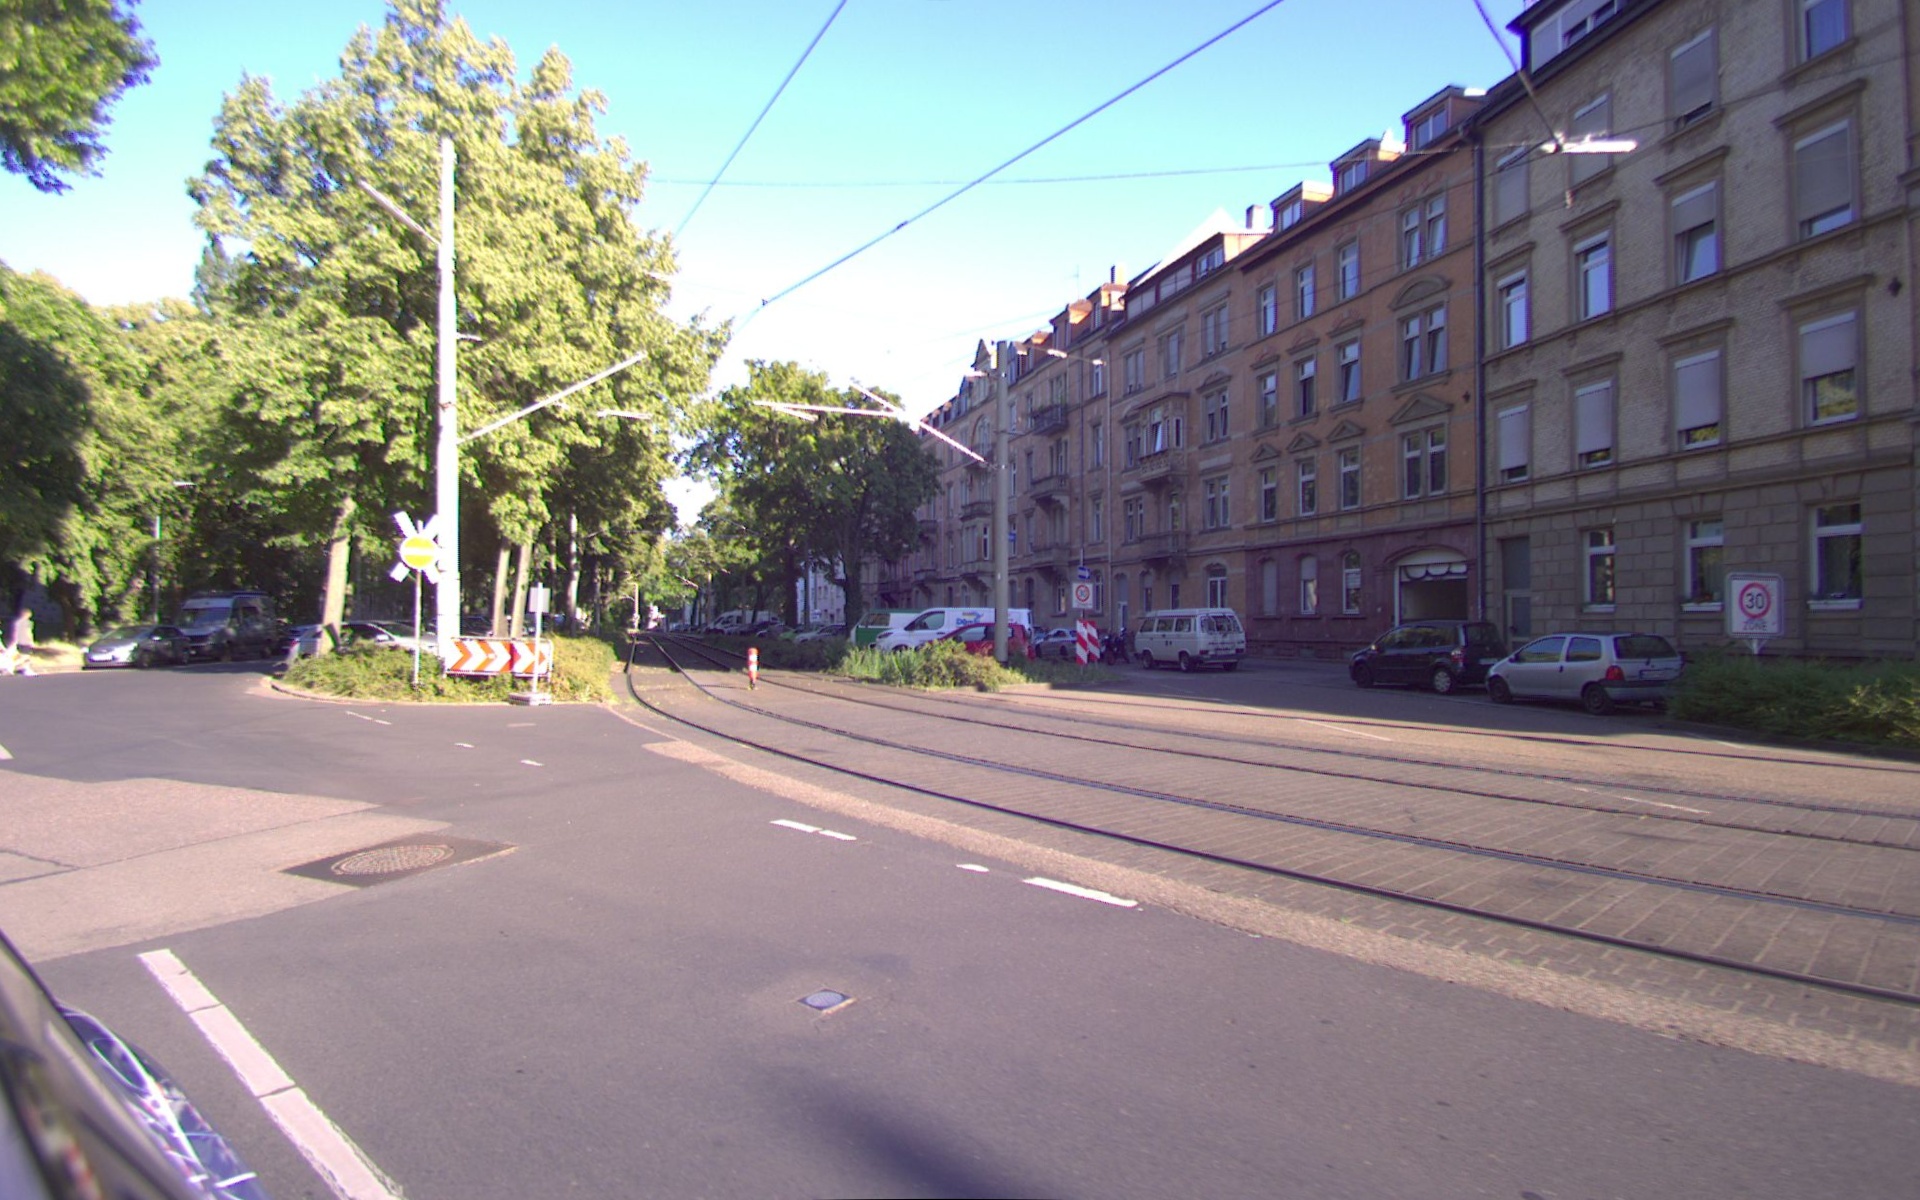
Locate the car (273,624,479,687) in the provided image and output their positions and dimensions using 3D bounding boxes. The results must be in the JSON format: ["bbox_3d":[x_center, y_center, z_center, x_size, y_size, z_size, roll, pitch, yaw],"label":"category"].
[{"bbox_3d":[-14.761,1.387,25.734,4.234,1.440,1.774,-1,-1,1],"label":"car"}]

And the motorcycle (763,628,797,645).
[{"bbox_3d":[-10.196,2.073,57.325,1.705,0.962,1.019,0,-2,4],"label":"motorcycle"}]

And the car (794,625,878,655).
[{"bbox_3d":[-5.983,1.932,49.006,3.695,1.391,1.722,0,-2,8],"label":"car"}]

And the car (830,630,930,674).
[{"bbox_3d":[-3.160,2.032,40.170,3.614,1.652,1.654,0,-2,13],"label":"car"}]

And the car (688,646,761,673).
[{"bbox_3d":[-14.625,3.660,62.888,3.954,1.590,1.994,0,-2,9],"label":"car"}]

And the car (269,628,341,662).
[{"bbox_3d":[-31.658,2.148,49.046,1.657,1.537,4.502,0,-2,-16],"label":"car"}]

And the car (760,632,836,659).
[{"bbox_3d":[-8.728,2.448,54.511,3.697,1.391,1.703,0,-2,10],"label":"car"}]

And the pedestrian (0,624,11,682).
[{"bbox_3d":[-27.420,1.497,28.421,0.801,1.620,0.718,1,-4,-12],"label":"pedestrian"}]

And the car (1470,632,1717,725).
[{"bbox_3d":[11.325,1.362,18.406,1.826,1.440,3.502,-2,-2,-11],"label":"car"}]

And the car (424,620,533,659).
[{"bbox_3d":[-25.272,2.078,53.122,4.950,1.795,1.980,-3,-1,12],"label":"car"}]

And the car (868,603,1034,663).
[{"bbox_3d":[-0.210,1.017,31.321,4.996,1.778,2.082,0,-2,5],"label":"car"}]

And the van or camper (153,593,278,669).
[{"bbox_3d":[-29.445,1.245,40.282,2.055,2.783,5.862,0,-2,-16],"label":"van or camper"}]

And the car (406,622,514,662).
[{"bbox_3d":[-23.526,1.971,47.662,4.313,1.638,1.934,-3,-1,12],"label":"car"}]

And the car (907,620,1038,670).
[{"bbox_3d":[0.394,1.269,28.883,3.589,1.339,1.713,0,-2,6],"label":"car"}]

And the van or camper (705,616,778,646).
[{"bbox_3d":[-18.218,2.588,84.536,5.492,2.389,2.299,1,-2,11],"label":"van or camper"}]

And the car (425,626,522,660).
[{"bbox_3d":[-24.210,2.115,50.381,4.117,1.470,1.764,-3,-1,12],"label":"car"}]

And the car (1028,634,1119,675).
[{"bbox_3d":[4.594,2.193,41.796,1.825,1.553,4.786,1,-2,-19],"label":"car"}]

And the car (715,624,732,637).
[{"bbox_3d":[-37.868,4.823,162.034,1.965,2.029,4.013,1,-2,-22],"label":"car"}]

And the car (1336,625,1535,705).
[{"bbox_3d":[10.635,1.435,22.959,1.825,1.575,3.883,-2,-2,-19],"label":"car"}]

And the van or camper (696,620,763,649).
[{"bbox_3d":[-21.099,3.192,92.811,5.610,2.487,1.995,1,-2,8],"label":"van or camper"}]

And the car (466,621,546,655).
[{"bbox_3d":[-26.435,2.226,58.931,4.130,1.795,1.871,-3,-1,21],"label":"car"}]

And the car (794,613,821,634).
[{"bbox_3d":[-15.268,2.332,101.346,1.965,2.029,4.012,1,-2,-19],"label":"car"}]

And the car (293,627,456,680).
[{"bbox_3d":[-17.770,1.592,30.826,3.929,1.375,1.774,-3,-1,0],"label":"car"}]

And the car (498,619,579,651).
[{"bbox_3d":[-31.914,2.674,76.584,5.459,2.153,2.072,-3,-1,13],"label":"car"}]

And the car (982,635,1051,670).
[{"bbox_3d":[2.629,2.452,47.994,1.825,1.530,4.072,1,-2,-19],"label":"car"}]

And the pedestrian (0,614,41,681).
[{"bbox_3d":[-25.692,1.282,27.483,0.801,1.795,0.718,1,-2,-12],"label":"pedestrian"}]

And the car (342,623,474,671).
[{"bbox_3d":[-19.658,1.662,36.089,3.842,1.505,1.826,-3,-1,10],"label":"car"}]

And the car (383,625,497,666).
[{"bbox_3d":[-21.274,1.847,41.484,3.828,1.450,1.827,-3,-1,9],"label":"car"}]

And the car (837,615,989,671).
[{"bbox_3d":[-1.547,1.427,34.199,4.785,1.778,2.077,0,-2,11],"label":"car"}]

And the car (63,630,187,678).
[{"bbox_3d":[-27.888,1.775,33.964,1.658,1.457,3.881,-2,-1,-13],"label":"car"}]

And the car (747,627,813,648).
[{"bbox_3d":[-11.683,2.427,65.826,3.948,1.327,1.592,0,-2,4],"label":"car"}]

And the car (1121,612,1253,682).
[{"bbox_3d":[7.385,1.559,33.590,1.826,2.079,5.015,-2,-2,-19],"label":"car"}]

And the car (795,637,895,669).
[{"bbox_3d":[-5.226,2.407,46.063,4.248,1.391,1.586,0,-2,15],"label":"car"}]
